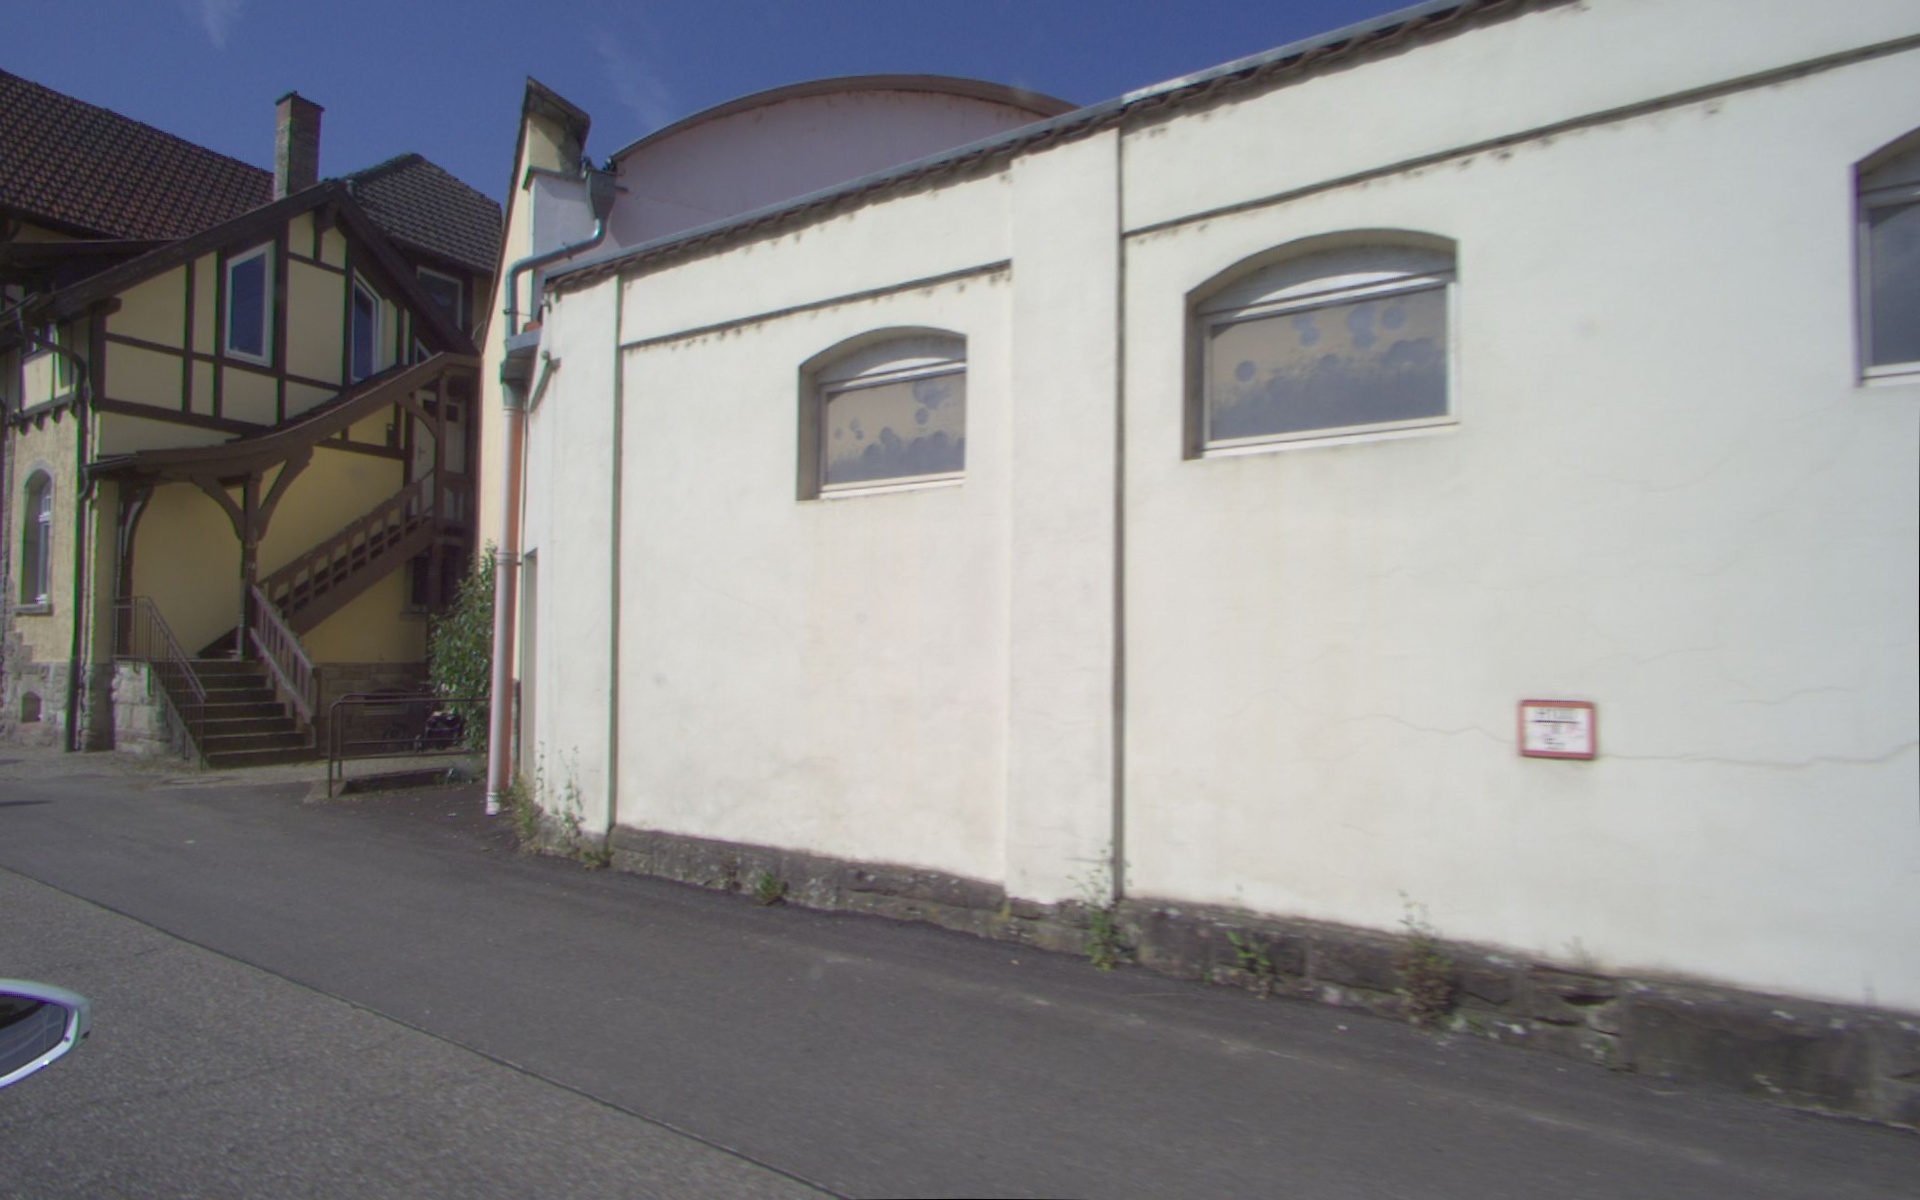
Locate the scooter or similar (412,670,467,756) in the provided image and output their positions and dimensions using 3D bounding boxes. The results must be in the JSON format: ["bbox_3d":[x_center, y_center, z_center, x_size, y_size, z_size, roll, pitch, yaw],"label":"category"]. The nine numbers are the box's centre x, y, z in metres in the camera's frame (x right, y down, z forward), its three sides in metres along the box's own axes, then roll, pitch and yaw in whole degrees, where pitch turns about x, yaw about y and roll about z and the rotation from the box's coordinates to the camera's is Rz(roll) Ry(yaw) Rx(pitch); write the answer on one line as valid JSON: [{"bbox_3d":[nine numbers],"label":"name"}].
[{"bbox_3d":[-7.016,1.498,13.509,0.613,1.077,1.006,1,-2,-27],"label":"scooter or similar"}]
